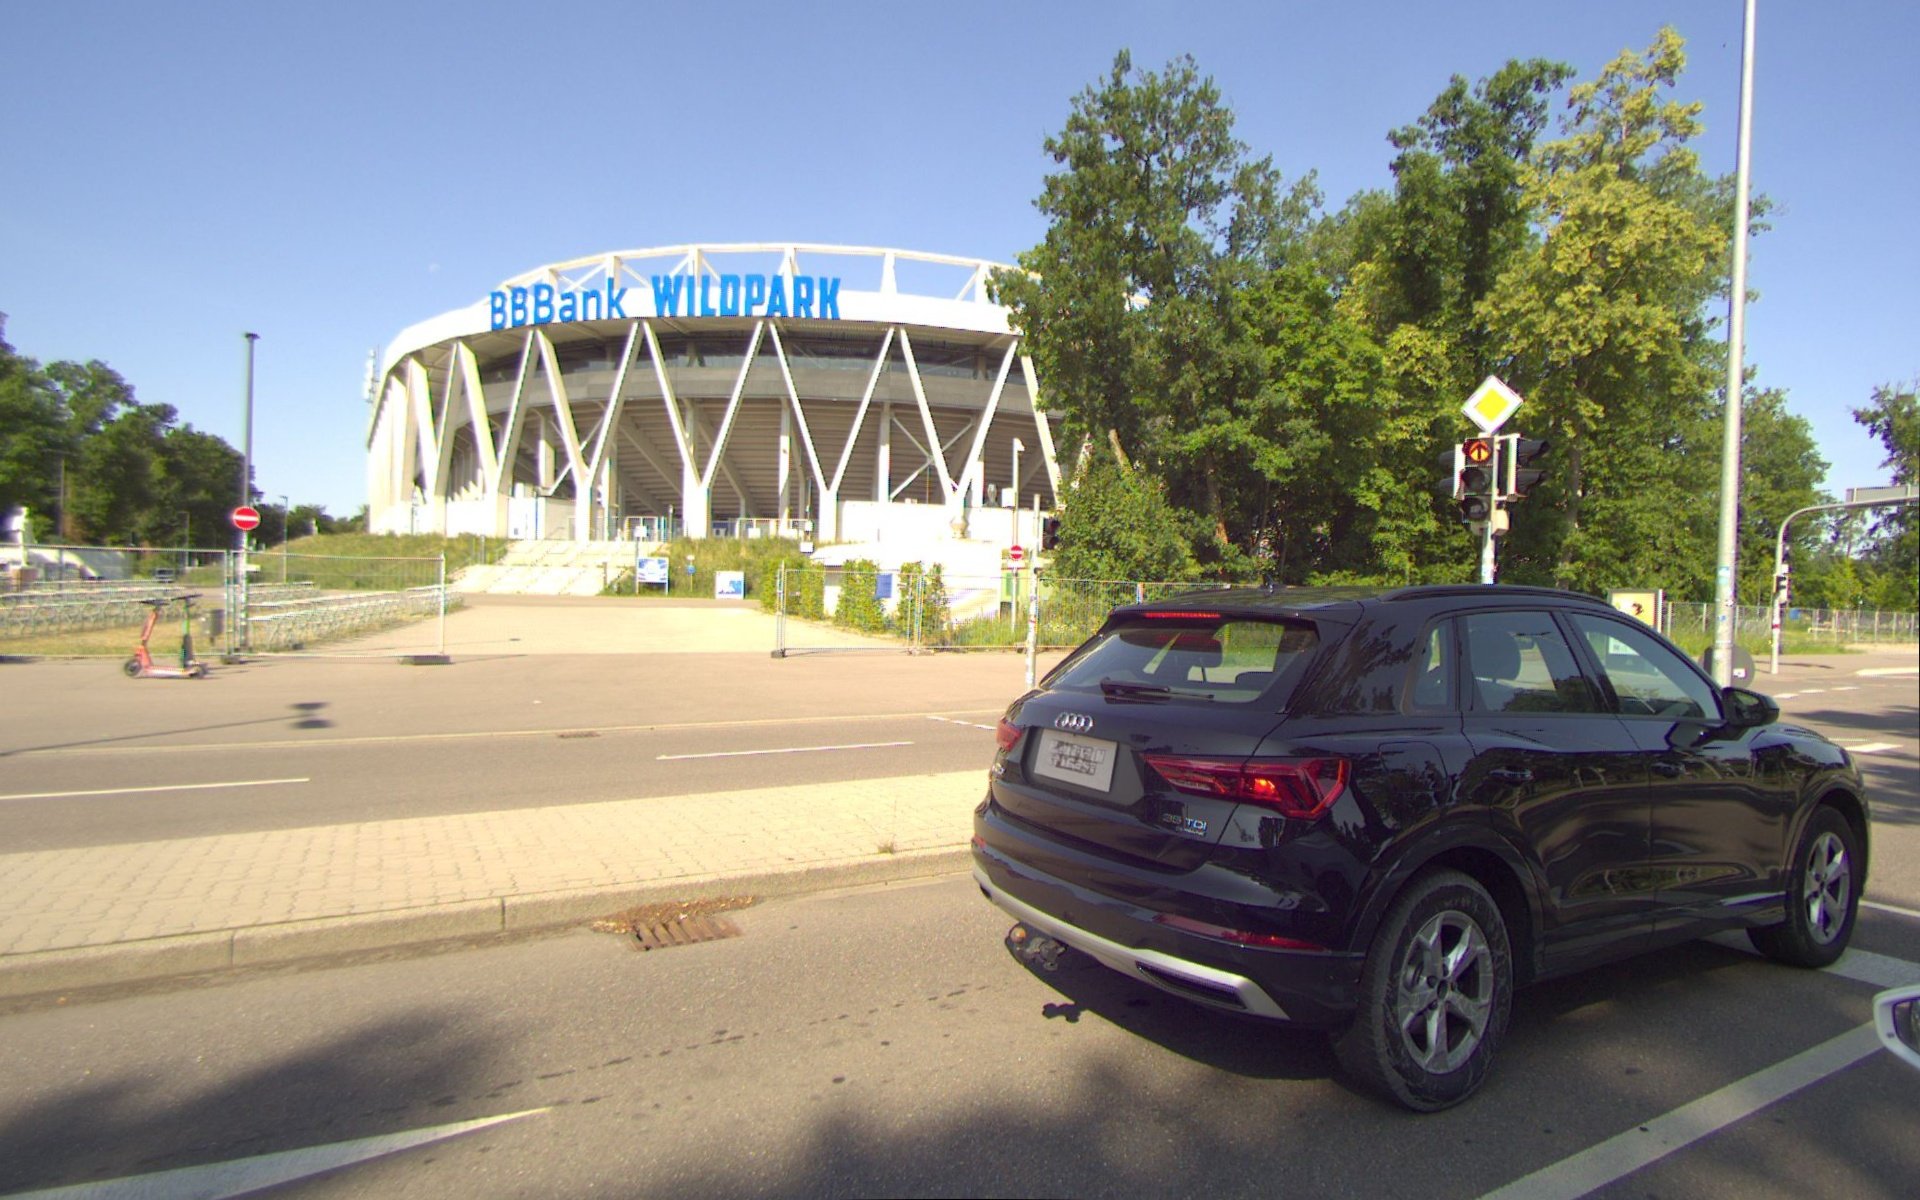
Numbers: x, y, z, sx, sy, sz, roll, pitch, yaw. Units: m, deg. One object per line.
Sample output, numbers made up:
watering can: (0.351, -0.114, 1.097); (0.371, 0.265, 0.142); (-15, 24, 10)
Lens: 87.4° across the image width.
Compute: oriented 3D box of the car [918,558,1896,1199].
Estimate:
car: (2.027, 0.720, 4.208); (4.100, 1.565, 1.680); (1, -1, -30)

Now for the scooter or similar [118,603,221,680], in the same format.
scooter or similar: (-12.316, 0.642, 15.674); (1.180, 1.161, 0.393); (1, 1, -25)

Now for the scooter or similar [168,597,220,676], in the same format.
scooter or similar: (-12.577, 0.580, 16.488); (1.064, 1.238, 0.395); (2, 1, 36)
